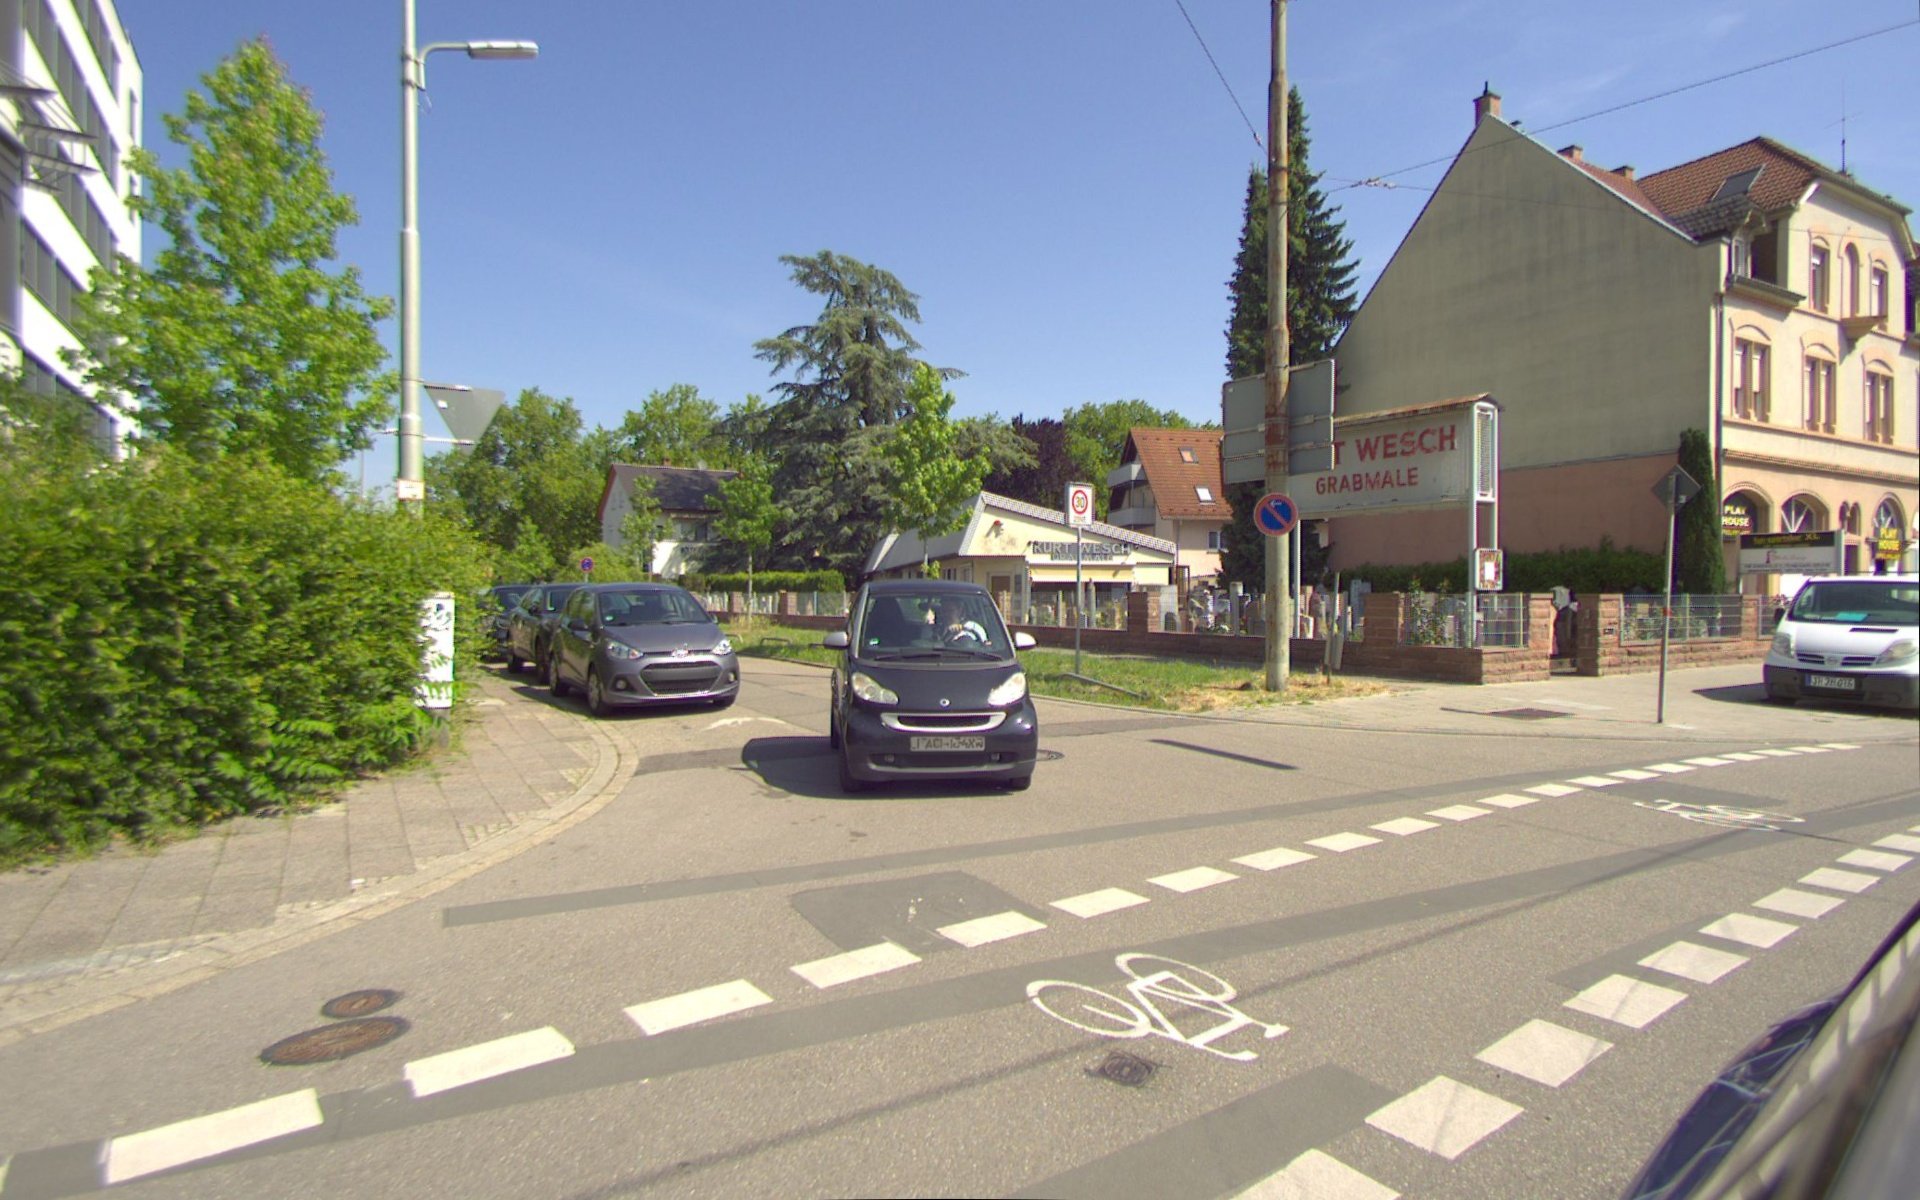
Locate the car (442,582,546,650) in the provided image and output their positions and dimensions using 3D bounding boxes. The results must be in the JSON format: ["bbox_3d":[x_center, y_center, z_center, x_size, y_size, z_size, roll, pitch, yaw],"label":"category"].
[{"bbox_3d":[-11.652,0.327,25.169,1.780,1.524,4.046,-1,1,-33],"label":"car"}]

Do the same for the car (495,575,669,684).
[{"bbox_3d":[-6.296,0.401,16.582,1.780,1.538,4.170,0,0,-34],"label":"car"}]

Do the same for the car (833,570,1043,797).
[{"bbox_3d":[-0.295,0.548,8.501,1.449,1.558,2.980,0,1,-6],"label":"car"}]

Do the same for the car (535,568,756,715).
[{"bbox_3d":[-4.045,0.417,12.650,1.672,1.547,3.697,0,0,-34],"label":"car"}]

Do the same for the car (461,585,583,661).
[{"bbox_3d":[-9.402,0.433,21.563,1.749,1.462,3.851,0,0,-34],"label":"car"}]

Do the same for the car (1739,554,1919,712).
[{"bbox_3d":[13.960,0.391,15.069,4.810,2.038,2.093,0,2,-31],"label":"car"}]
